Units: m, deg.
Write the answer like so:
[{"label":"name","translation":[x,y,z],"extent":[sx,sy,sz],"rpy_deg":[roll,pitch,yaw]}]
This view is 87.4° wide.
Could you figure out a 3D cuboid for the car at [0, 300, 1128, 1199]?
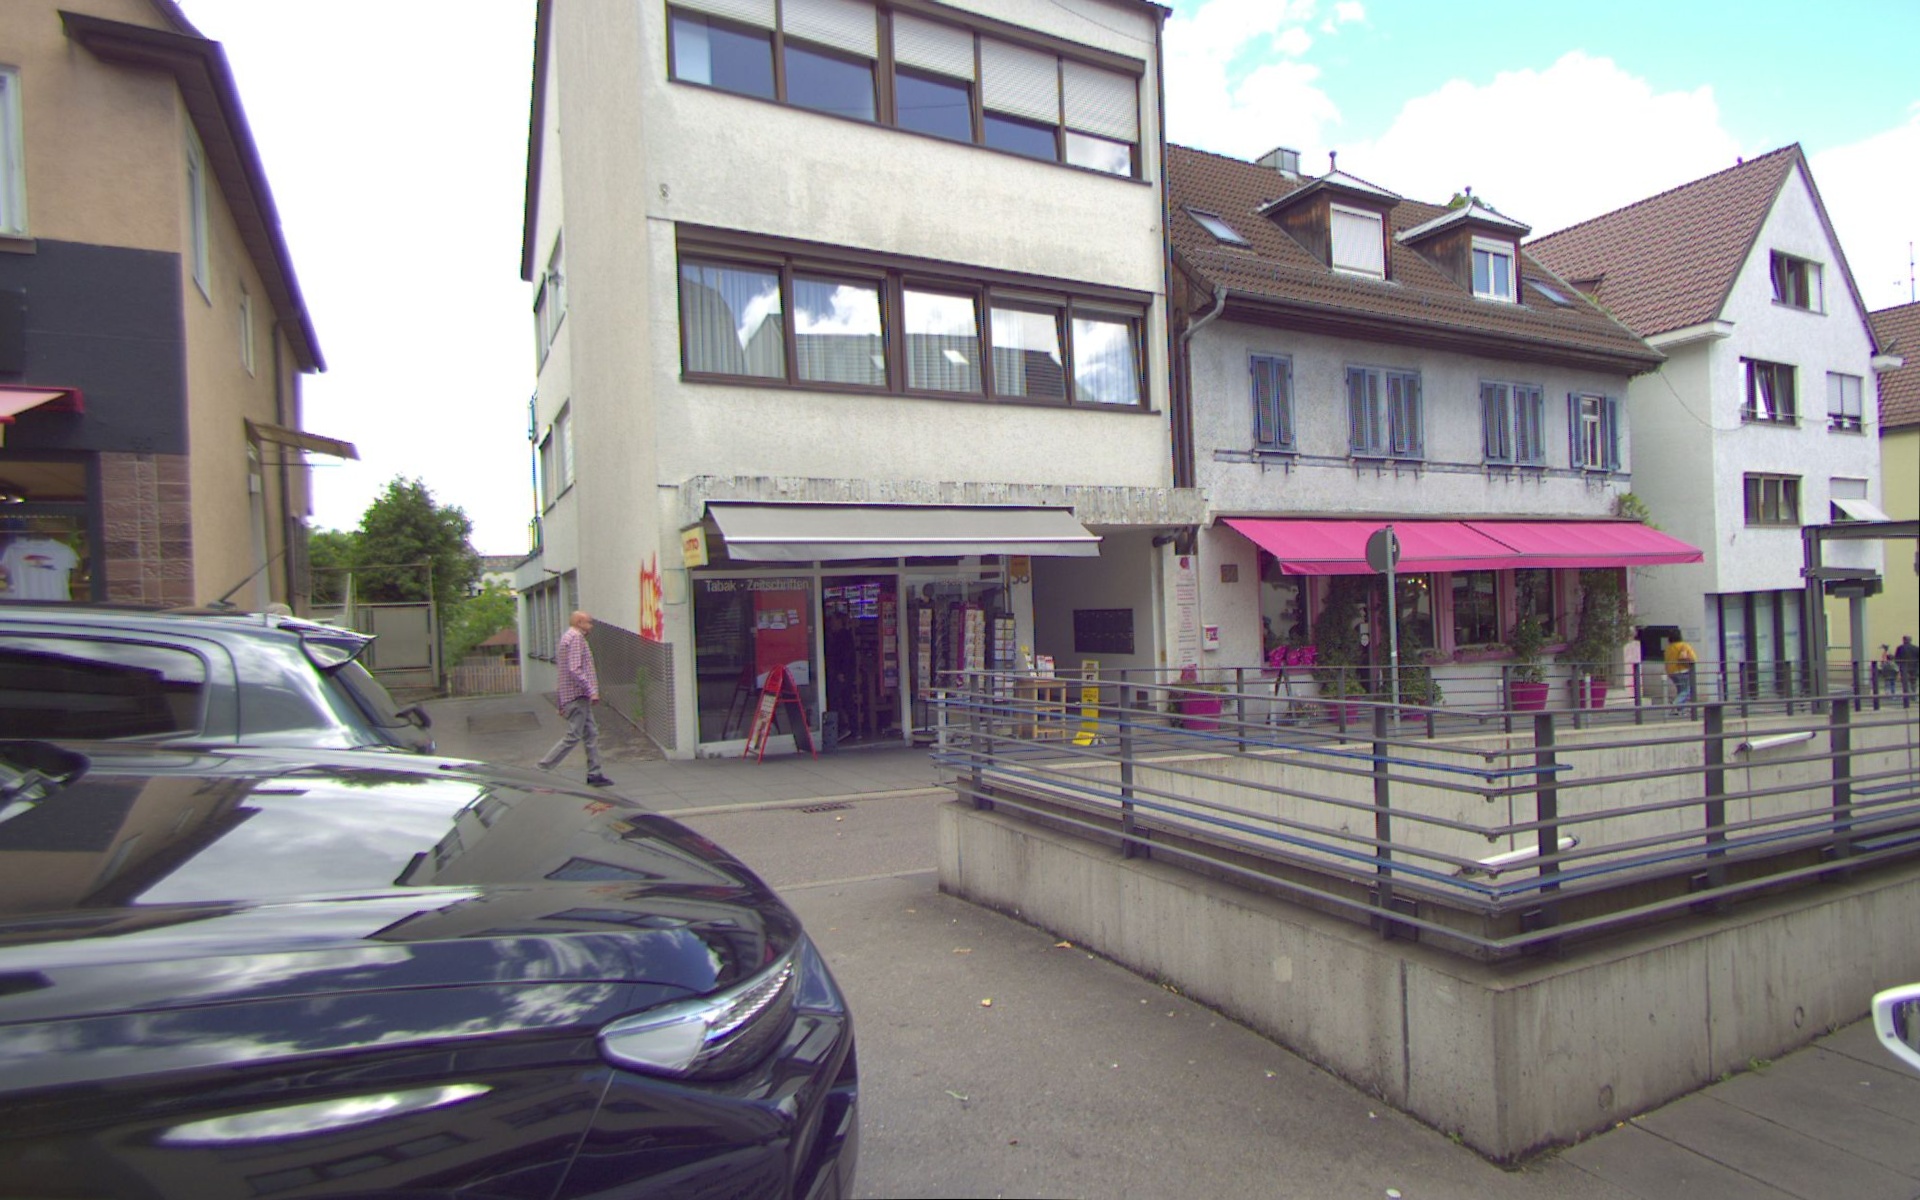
[{"label":"car","translation":[-2.130,0.592,0.968],"extent":[4.264,1.661,1.947],"rpy_deg":[1,0,-30]}]

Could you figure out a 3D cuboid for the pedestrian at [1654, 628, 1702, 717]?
[{"label":"pedestrian","translation":[14.286,1.429,19.990],"extent":[0.570,1.711,0.575],"rpy_deg":[1,0,-30]}]

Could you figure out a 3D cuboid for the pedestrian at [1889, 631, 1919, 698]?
[{"label":"pedestrian","translation":[24.634,1.667,26.147],"extent":[0.559,1.711,0.606],"rpy_deg":[1,0,-44]}]

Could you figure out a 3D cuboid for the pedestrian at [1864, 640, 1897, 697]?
[{"label":"pedestrian","translation":[23.904,1.778,26.085],"extent":[0.527,1.440,0.455],"rpy_deg":[1,0,-27]}]

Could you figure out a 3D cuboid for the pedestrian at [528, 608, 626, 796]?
[{"label":"pedestrian","translation":[-3.677,0.946,9.633],"extent":[0.816,1.711,0.637],"rpy_deg":[1,-2,-26]}]

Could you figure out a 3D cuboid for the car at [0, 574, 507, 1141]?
[{"label":"car","translation":[-3.577,0.726,3.057],"extent":[3.840,1.494,1.731],"rpy_deg":[1,-5,-31]}]

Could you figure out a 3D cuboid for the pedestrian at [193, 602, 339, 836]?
[{"label":"pedestrian","translation":[-5.327,0.883,7.735],"extent":[0.653,1.711,0.646],"rpy_deg":[-1,-1,10]}]
